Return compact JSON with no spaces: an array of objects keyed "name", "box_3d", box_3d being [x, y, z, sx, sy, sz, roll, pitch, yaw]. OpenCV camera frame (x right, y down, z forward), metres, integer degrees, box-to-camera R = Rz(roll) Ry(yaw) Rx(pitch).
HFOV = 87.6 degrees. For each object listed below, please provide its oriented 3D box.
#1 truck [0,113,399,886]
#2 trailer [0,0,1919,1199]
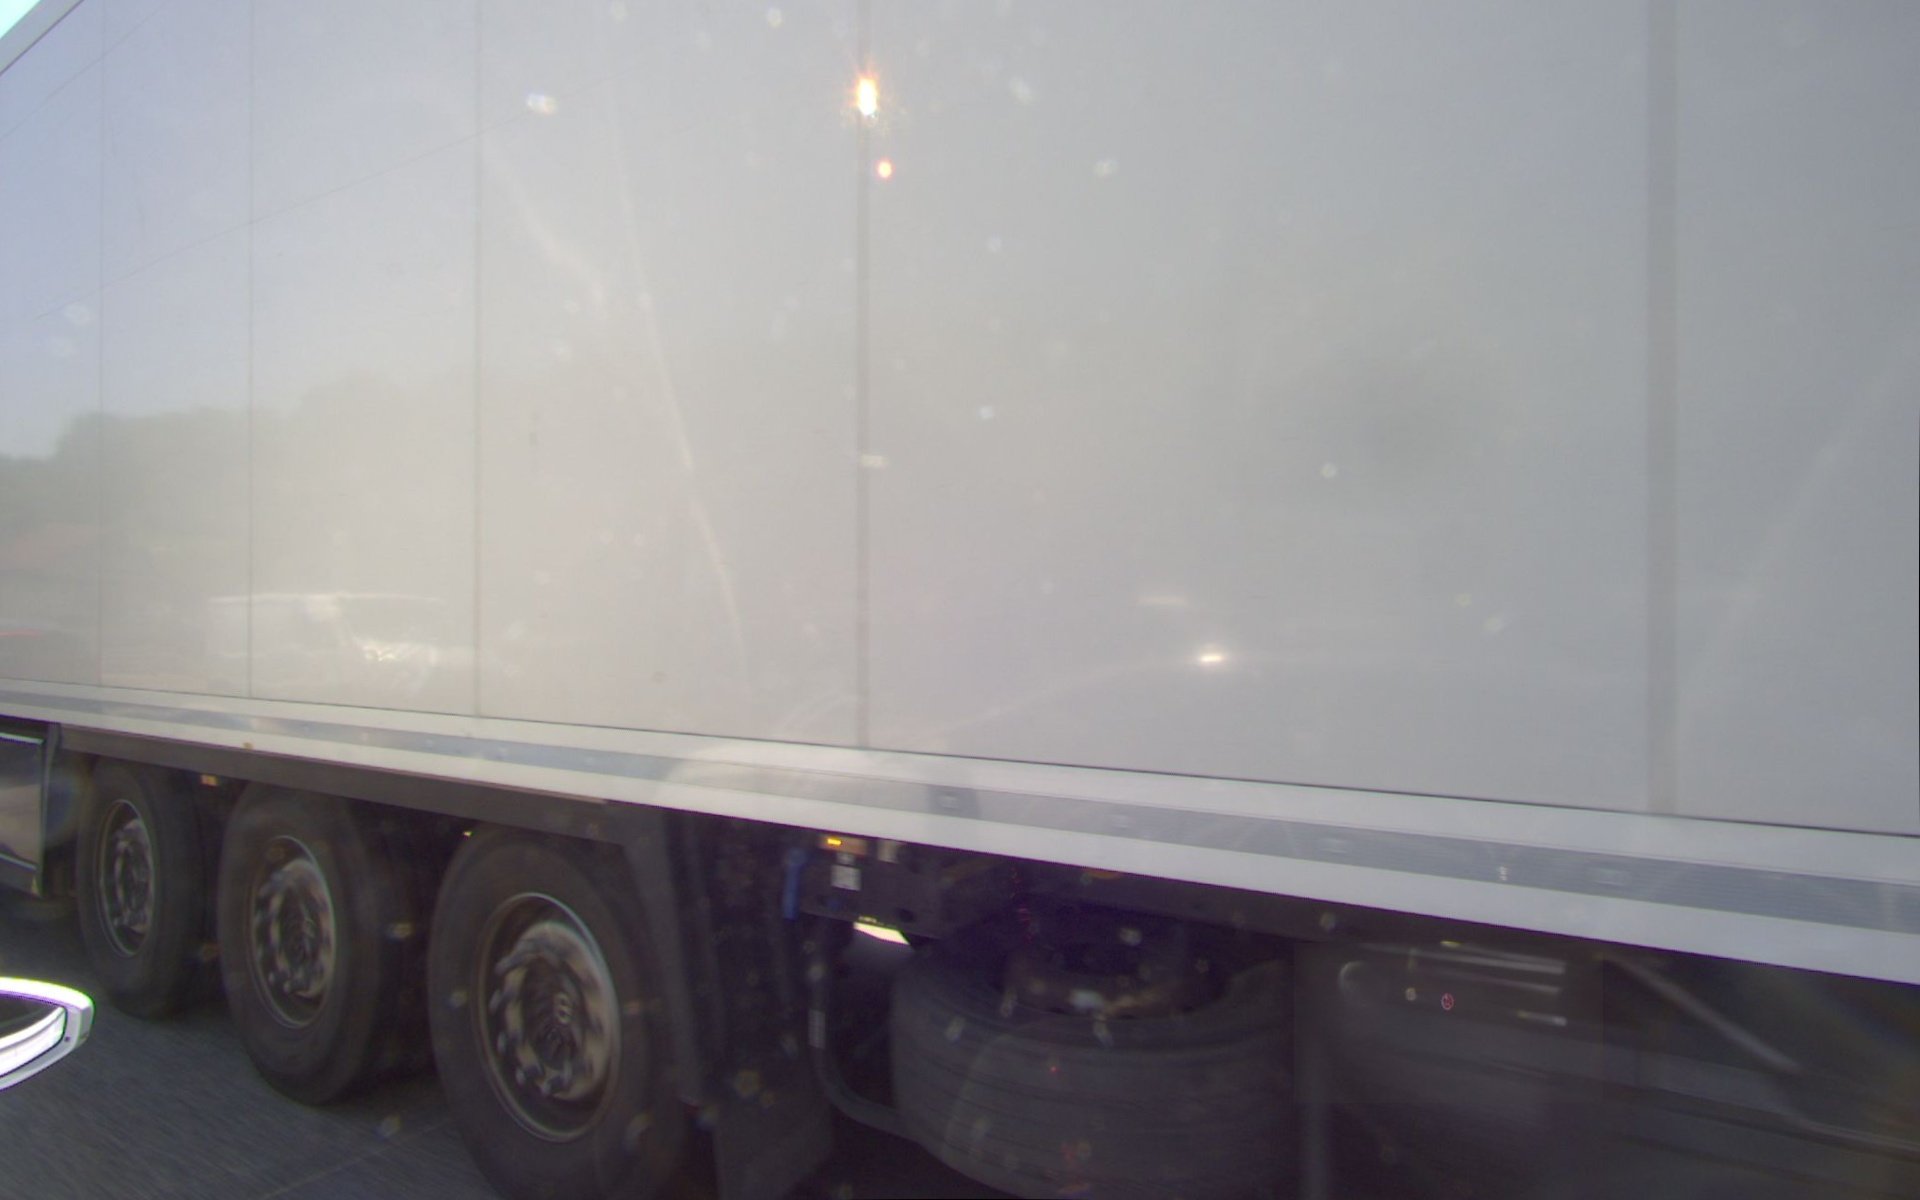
[{"name":"truck","box_3d":[-8.010,-0.419,8.201,8.123,4.076,2.508,-1,-2,33]},{"name":"trailer","box_3d":[-2.450,-0.750,4.589,11.385,4.179,2.527,-1,-2,33]}]
